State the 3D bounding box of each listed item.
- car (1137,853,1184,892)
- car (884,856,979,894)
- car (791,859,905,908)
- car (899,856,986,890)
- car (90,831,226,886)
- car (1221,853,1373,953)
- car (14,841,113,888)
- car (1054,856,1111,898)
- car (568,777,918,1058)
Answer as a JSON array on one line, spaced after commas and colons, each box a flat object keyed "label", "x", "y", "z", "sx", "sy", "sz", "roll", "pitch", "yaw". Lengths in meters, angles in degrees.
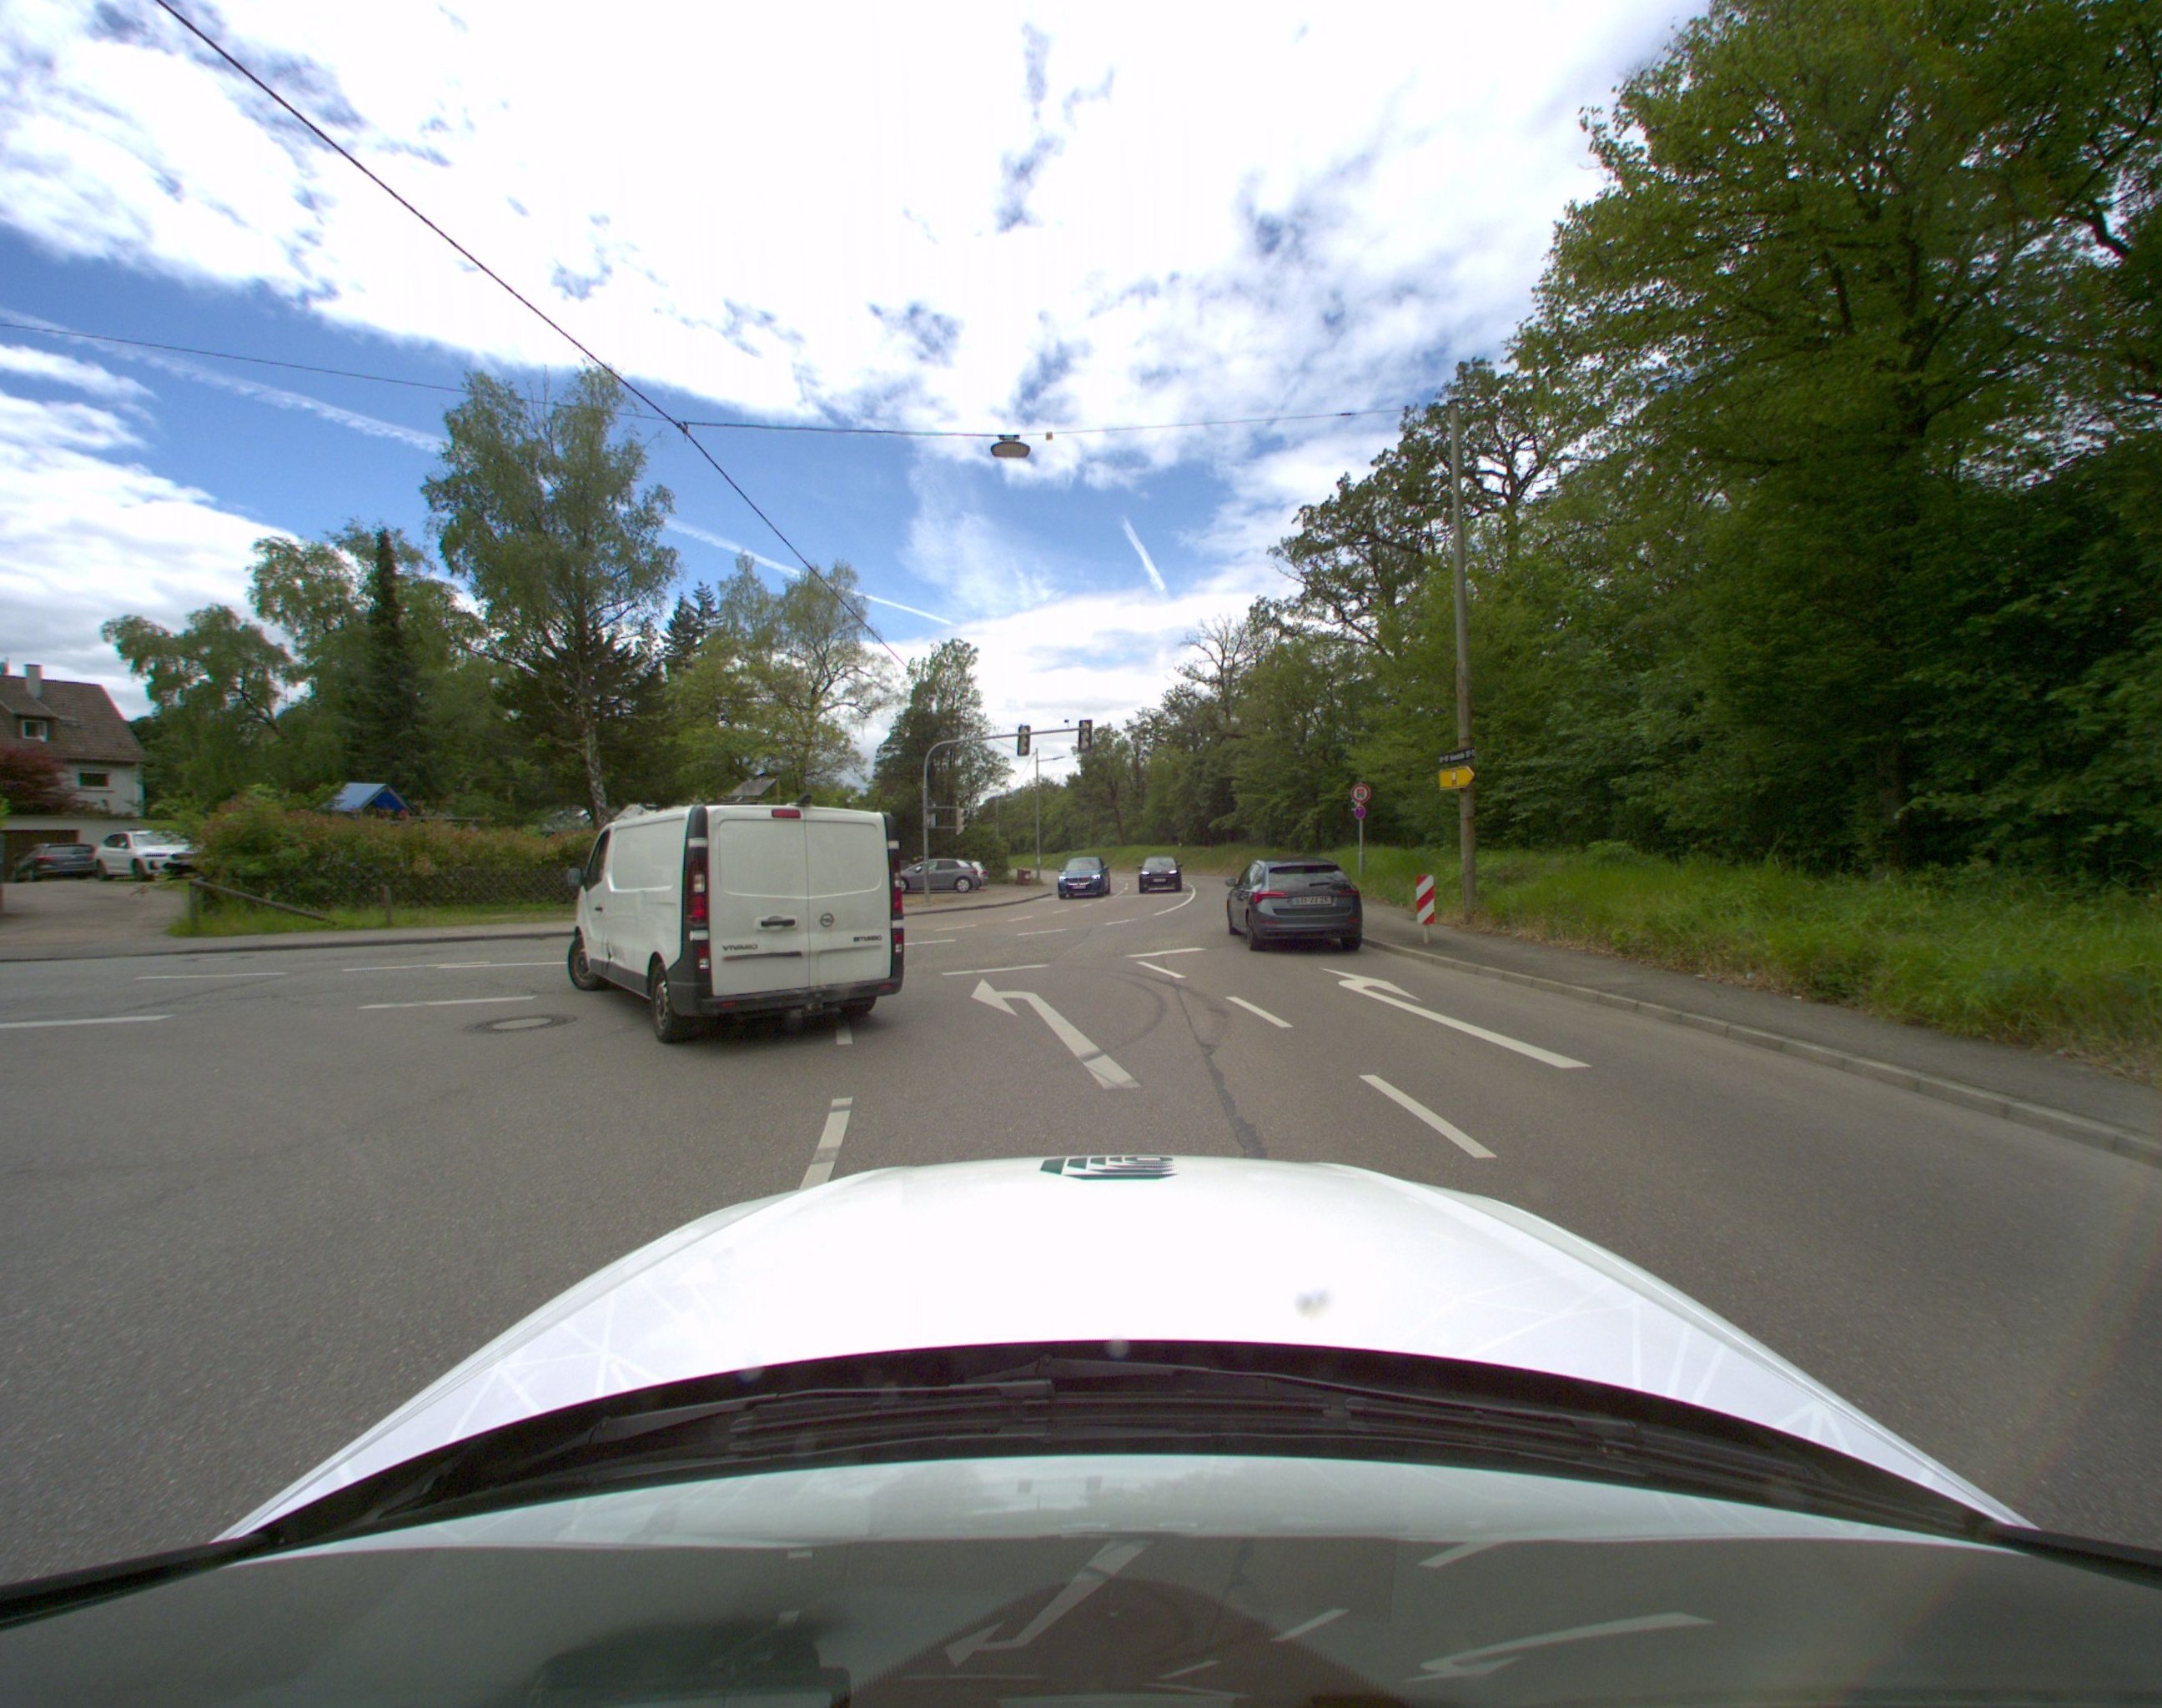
[{"label": "car", "x": 3.409, "y": 0.775, "z": 35.723, "sx": 1.808, "sy": 1.507, "sz": 4.003, "roll": -3, "pitch": 0, "yaw": 3}, {"label": "car", "x": -6.728, "y": 0.915, "z": 36.853, "sx": 4.086, "sy": 1.553, "sz": 1.848, "roll": -1, "pitch": 1, "yaw": -10}, {"label": "car", "x": -7.674, "y": 0.930, "z": 27.129, "sx": 1.682, "sy": 1.448, "sz": 3.563, "roll": 2, "pitch": 0, "yaw": 24}, {"label": "car", "x": -6.756, "y": 0.902, "z": 39.821, "sx": 4.086, "sy": 1.553, "sz": 1.848, "roll": -1, "pitch": 1, "yaw": -10}, {"label": "car", "x": -31.079, "y": 0.108, "z": 27.427, "sx": 4.288, "sy": 1.657, "sz": 2.013, "roll": 0, "pitch": 4, "yaw": 28}, {"label": "car", "x": 3.526, "y": 0.725, "z": 14.006, "sx": 1.784, "sy": 1.450, "sz": 4.004, "roll": -1, "pitch": 0, "yaw": 4}, {"label": "car", "x": -39.611, "y": 0.357, "z": 31.695, "sx": 4.287, "sy": 1.657, "sz": 2.013, "roll": 0, "pitch": 2, "yaw": 34}, {"label": "car", "x": 0.128, "y": 0.916, "z": 33.689, "sx": 1.847, "sy": 1.507, "sz": 4.007, "roll": -3, "pitch": 0, "yaw": 6}, {"label": "car", "x": -3.686, "y": 0.467, "z": 8.317, "sx": 1.933, "sy": 2.053, "sz": 4.559, "roll": -1, "pitch": 0, "yaw": -41}]
